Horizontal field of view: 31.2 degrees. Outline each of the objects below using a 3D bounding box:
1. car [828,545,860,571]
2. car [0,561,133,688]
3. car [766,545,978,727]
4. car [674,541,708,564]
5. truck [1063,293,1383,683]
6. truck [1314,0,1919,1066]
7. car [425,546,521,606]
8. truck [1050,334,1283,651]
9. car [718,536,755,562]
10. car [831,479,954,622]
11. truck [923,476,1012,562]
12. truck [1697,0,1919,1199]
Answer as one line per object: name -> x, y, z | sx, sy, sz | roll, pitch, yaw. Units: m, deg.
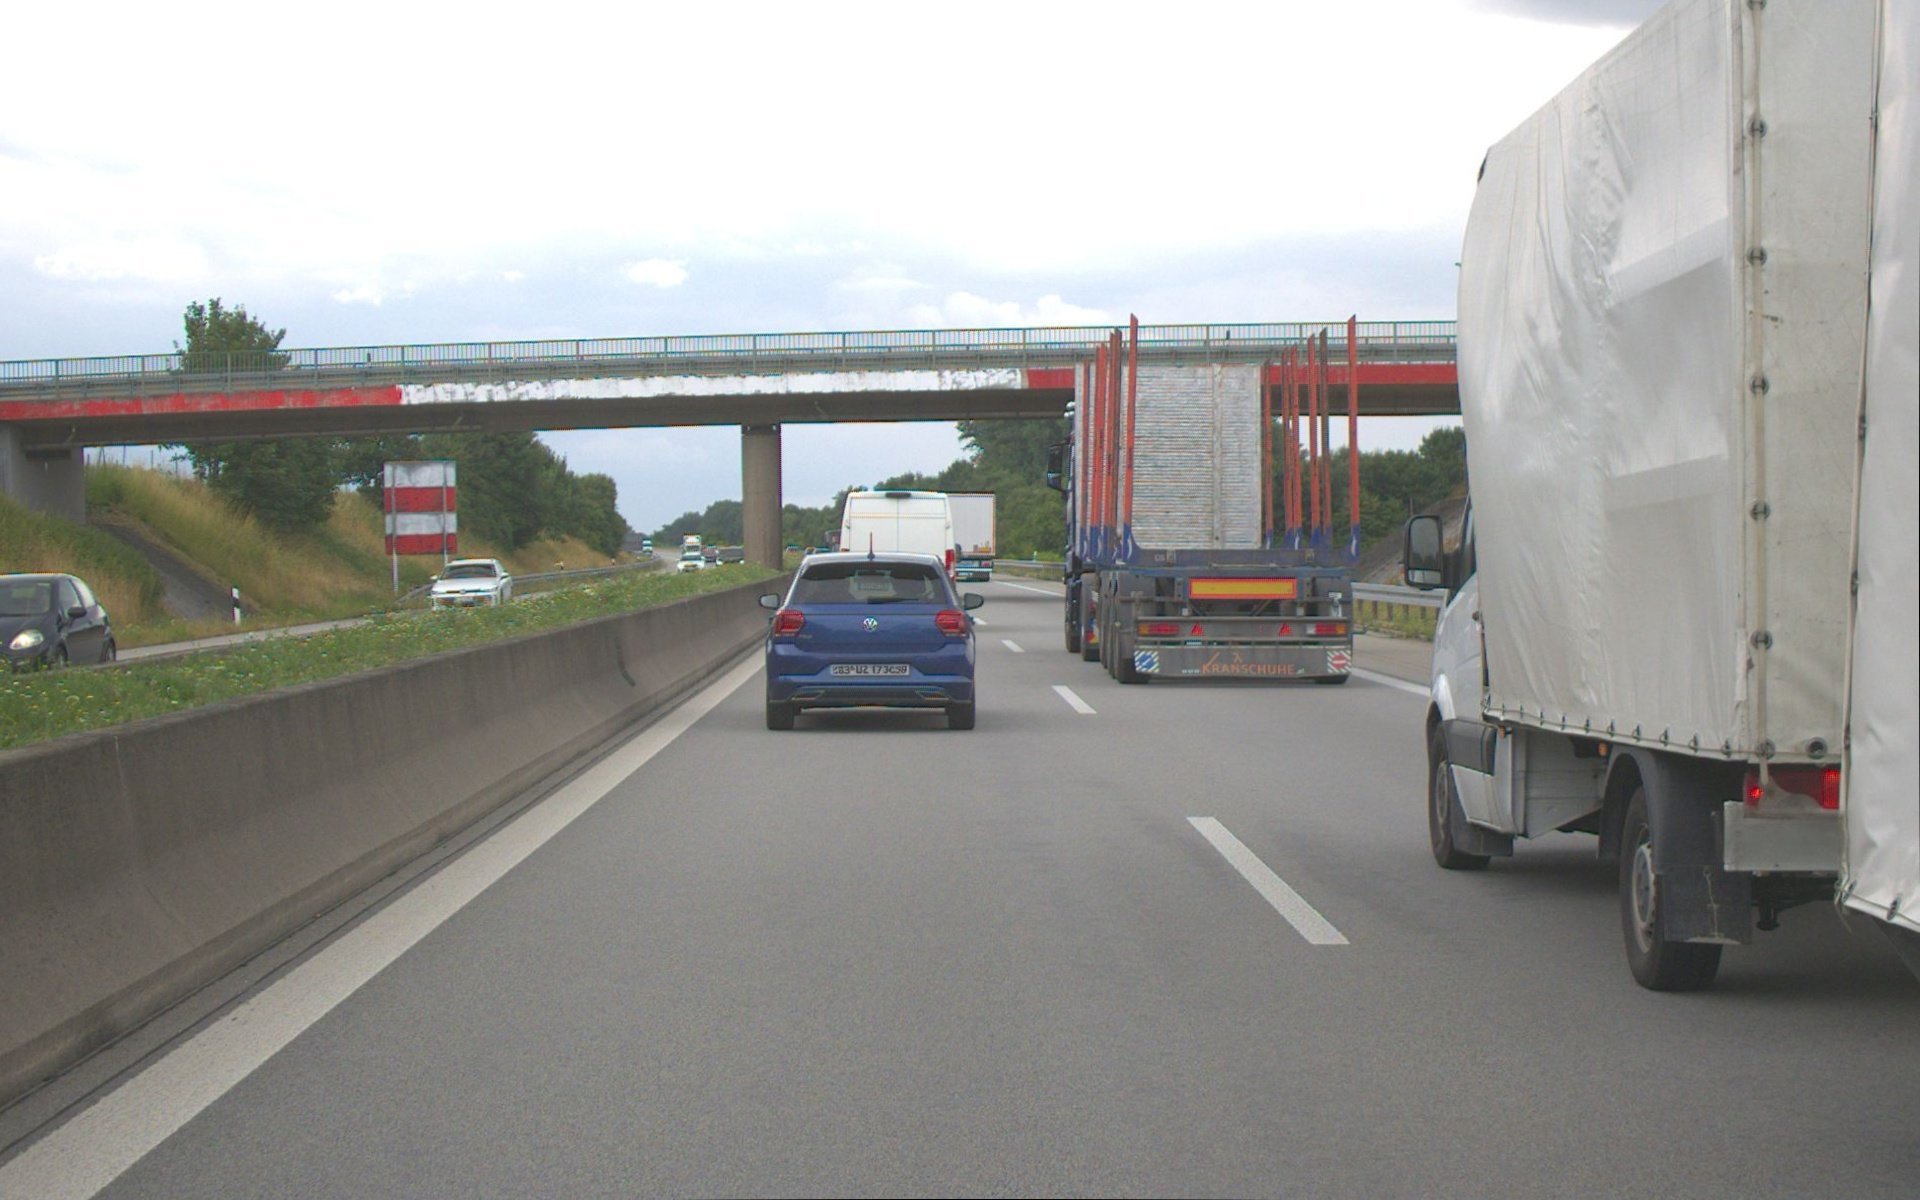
car -> -7.532, -2.766, 224.173 | 1.993, 1.678, 4.000 | 0, 1, -1
car -> -11.121, 0.277, 40.632 | 1.646, 1.373, 4.235 | -2, 1, -1
car -> -0.744, 0.255, 28.961 | 1.663, 1.402, 3.649 | 0, 1, -1
car -> -18.095, -3.178, 231.158 | 1.895, 1.456, 4.542 | -2, 1, -1
truck -> 2.899, -1.307, 41.286 | 2.673, 4.032, 11.109 | -1, 1, -2
truck -> 3.110, -0.366, 13.286 | 2.429, 3.232, 7.248 | 0, 1, -2
car -> -12.937, -0.660, 91.626 | 1.895, 1.456, 4.542 | -2, 1, -1
truck -> 2.718, -1.448, 46.748 | 2.673, 4.032, 5.513 | -1, 1, -2
car -> -13.376, -3.040, 205.595 | 1.895, 1.456, 4.542 | -2, 1, -1
car -> -1.210, -0.914, 62.667 | 2.130, 2.474, 5.840 | 0, 1, -1
truck -> 0.280, -3.606, 155.271 | 3.110, 3.677, 9.324 | -2, 1, -5
truck -> 3.400, -0.243, 5.992 | 2.415, 3.211, 7.144 | 0, 1, -2
